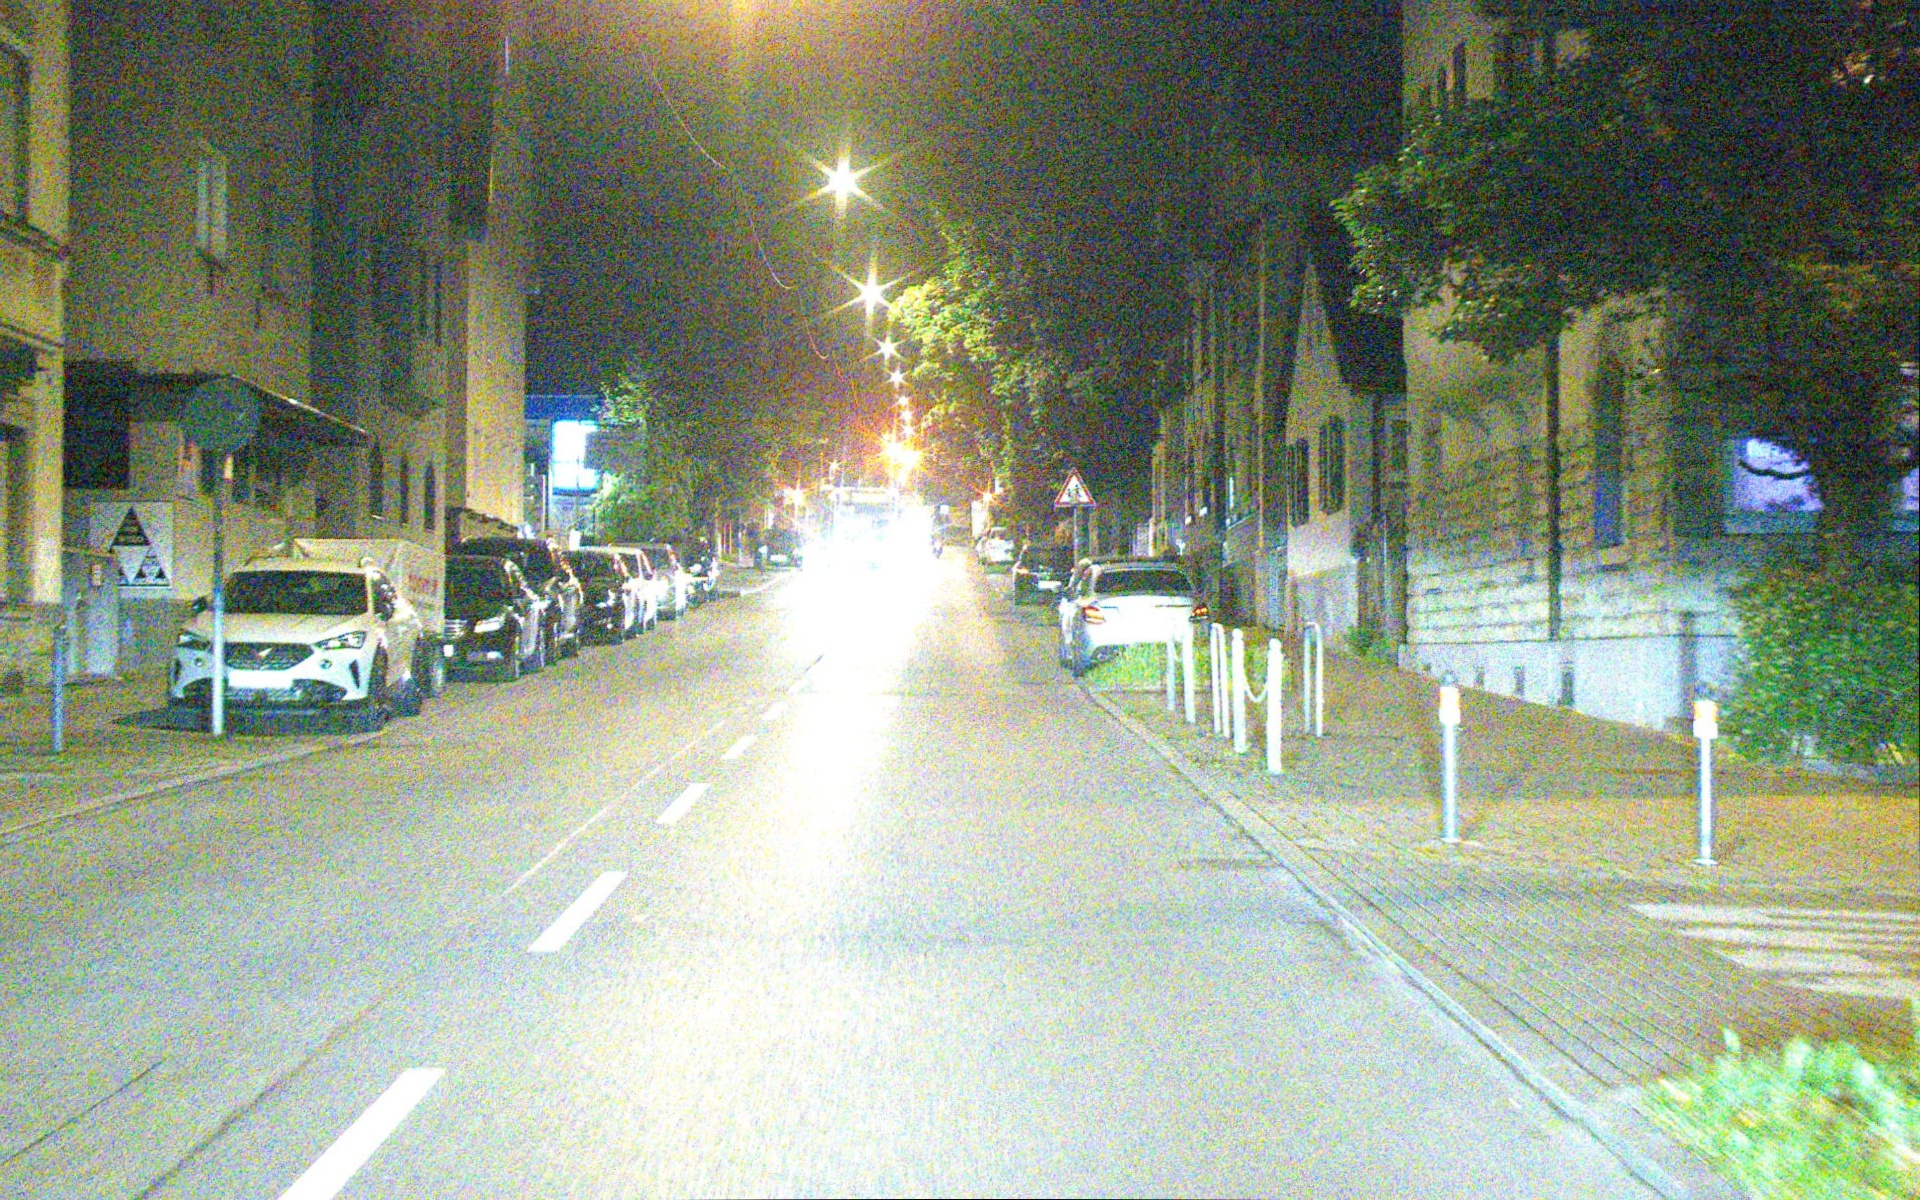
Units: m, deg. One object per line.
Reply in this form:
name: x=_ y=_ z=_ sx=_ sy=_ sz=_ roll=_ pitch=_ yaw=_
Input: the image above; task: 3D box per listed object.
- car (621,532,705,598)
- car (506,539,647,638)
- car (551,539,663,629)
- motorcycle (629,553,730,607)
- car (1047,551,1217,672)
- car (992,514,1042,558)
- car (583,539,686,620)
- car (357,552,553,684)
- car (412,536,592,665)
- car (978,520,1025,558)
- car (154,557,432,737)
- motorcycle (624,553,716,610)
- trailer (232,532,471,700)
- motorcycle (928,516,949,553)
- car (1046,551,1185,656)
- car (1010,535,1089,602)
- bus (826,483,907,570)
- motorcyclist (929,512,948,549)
car: x=-6.865 y=-0.808 z=79.740 sx=1.638 sy=1.493 sz=2.765 roll=1 pitch=1 yaw=1
car: x=-6.162 y=-0.207 z=55.637 sx=1.863 sy=1.486 sz=4.281 roll=1 pitch=1 yaw=-1
car: x=-6.147 y=-0.294 z=60.242 sx=1.621 sy=1.486 sz=3.781 roll=1 pitch=1 yaw=-1
motorcycle: x=-6.062 y=-0.438 z=74.247 sx=2.206 sy=1.127 sz=0.714 roll=1 pitch=2 yaw=33
car: x=2.183 y=0.110 z=44.739 sx=1.845 sy=1.412 sz=4.645 roll=-2 pitch=1 yaw=-1
car: x=2.170 y=-2.486 z=132.057 sx=1.812 sy=1.588 sz=4.274 roll=-1 pitch=2 yaw=0
car: x=-6.406 y=-0.433 z=67.978 sx=1.704 sy=1.486 sz=4.228 roll=-1 pitch=2 yaw=-1
car: x=-6.098 y=0.174 z=41.937 sx=1.835 sy=1.442 sz=4.545 roll=0 pitch=2 yaw=-2
car: x=-6.222 y=-0.030 z=47.105 sx=1.835 sy=1.613 sz=4.545 roll=1 pitch=1 yaw=0
car: x=1.737 y=-2.603 z=145.379 sx=1.868 sy=1.521 sz=4.150 roll=-1 pitch=2 yaw=0
car: x=-6.006 y=0.375 z=31.410 sx=1.814 sy=1.479 sz=4.348 roll=1 pitch=1 yaw=-2
motorcycle: x=-6.100 y=-0.393 z=72.229 sx=0.714 sy=1.143 sz=2.208 roll=-2 pitch=2 yaw=-43
trailer: x=-6.307 y=0.139 z=35.976 sx=1.638 sy=1.634 sz=3.439 roll=1 pitch=1 yaw=4
motorcycle: x=-1.026 y=-3.106 z=163.439 sx=0.931 sy=1.746 sz=2.625 roll=1 pitch=1 yaw=0
car: x=2.239 y=0.018 z=50.361 sx=1.771 sy=1.443 sz=4.020 roll=0 pitch=1 yaw=-1
car: x=2.143 y=-0.779 z=83.222 sx=1.763 sy=1.471 sz=4.081 roll=-1 pitch=2 yaw=0
bus: x=-3.546 y=-2.895 z=133.095 sx=2.837 sy=3.166 sz=10.499 roll=1 pitch=2 yaw=0
motorcyclist: x=-1.024 y=-3.309 z=163.514 sx=0.848 sy=1.746 sz=0.805 roll=1 pitch=0 yaw=0
